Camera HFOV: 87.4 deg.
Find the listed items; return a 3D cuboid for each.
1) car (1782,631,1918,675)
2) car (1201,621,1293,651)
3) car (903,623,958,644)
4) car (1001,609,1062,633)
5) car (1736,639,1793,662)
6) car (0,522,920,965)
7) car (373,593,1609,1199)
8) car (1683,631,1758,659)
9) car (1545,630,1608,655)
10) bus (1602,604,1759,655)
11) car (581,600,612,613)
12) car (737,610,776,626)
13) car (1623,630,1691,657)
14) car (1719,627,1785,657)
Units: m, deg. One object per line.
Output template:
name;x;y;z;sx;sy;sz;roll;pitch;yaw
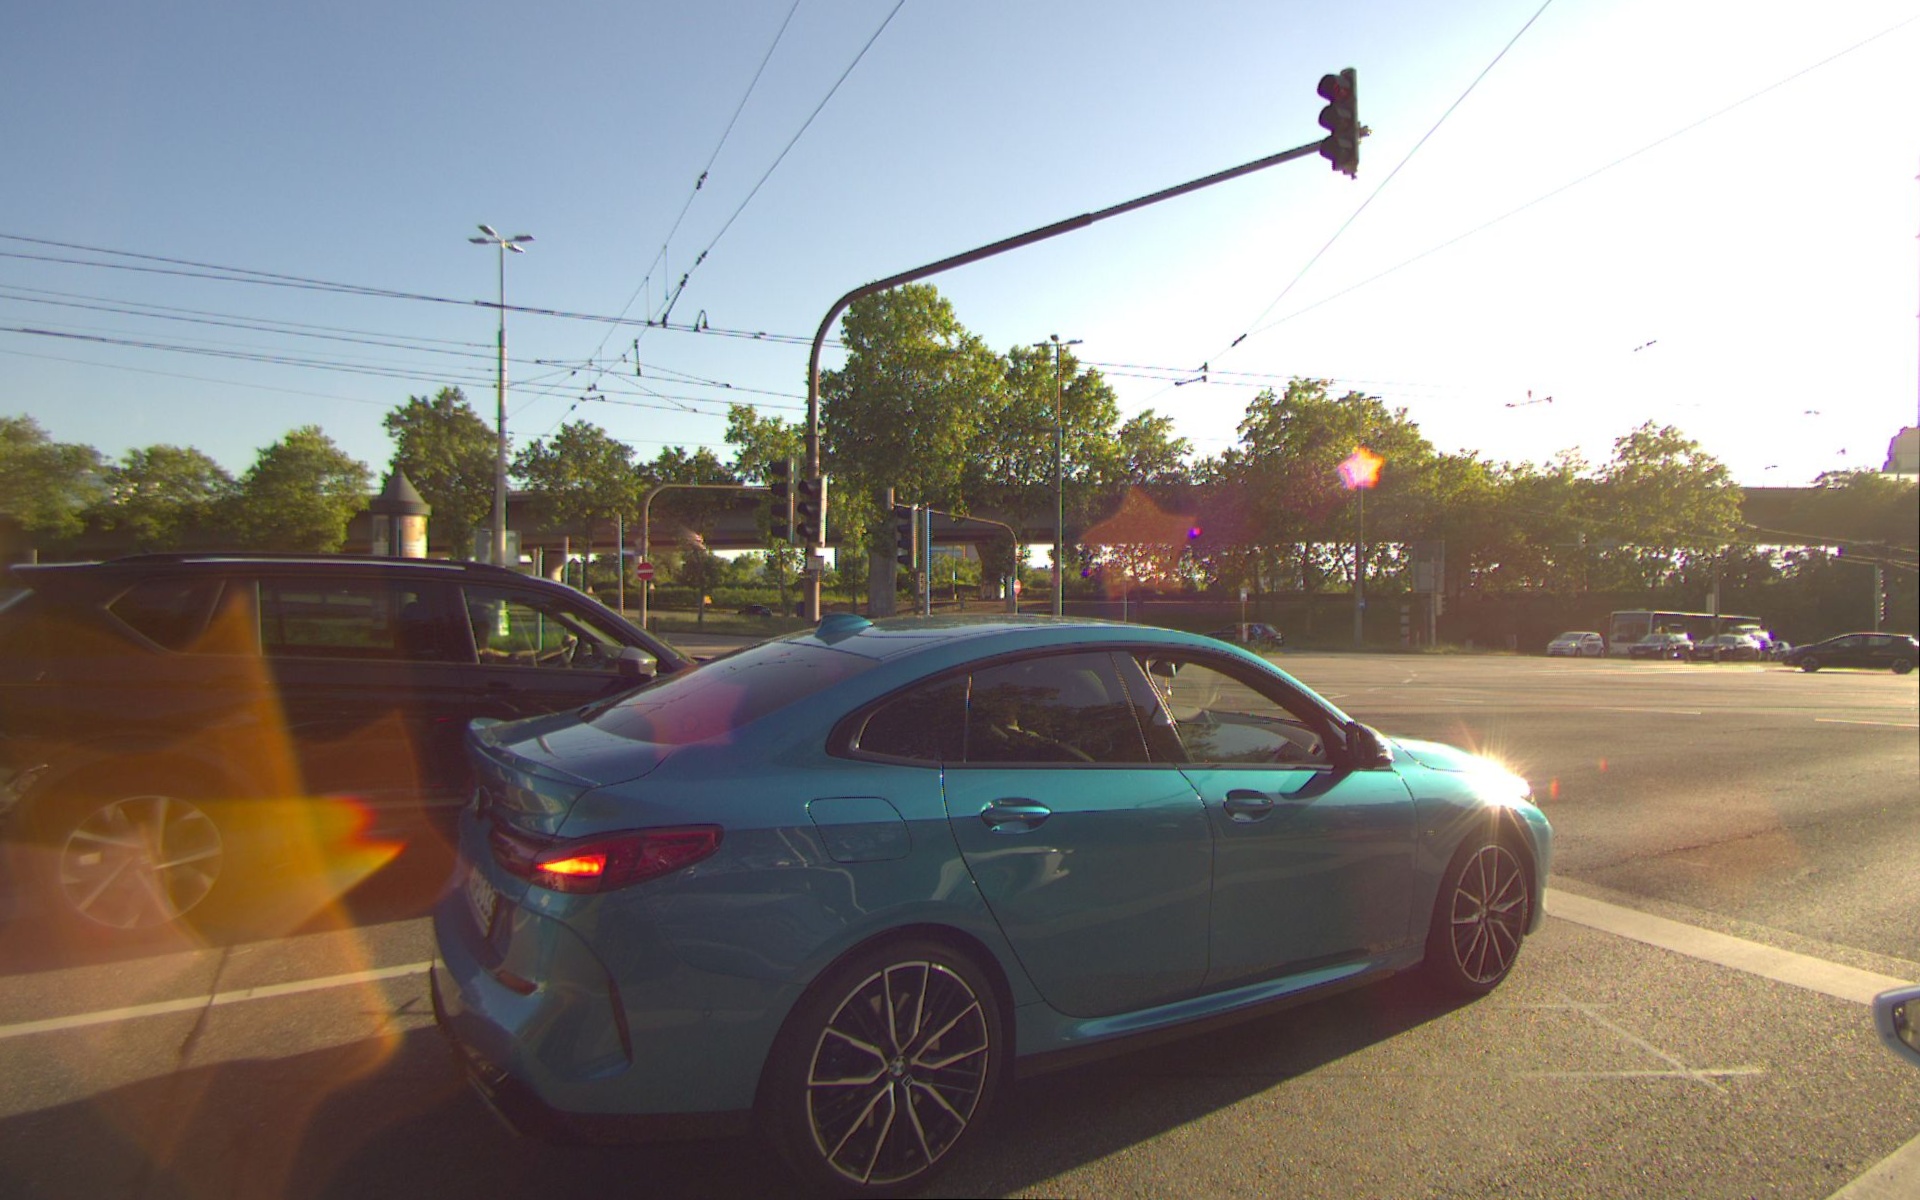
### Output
car;32.645;1.896;36.943;3.680;1.441;1.688;1;-1;42
car;15.723;1.961;55.087;1.986;1.473;4.476;2;-1;-43
car;-2.282;2.563;77.400;1.982;1.473;4.485;2;-1;-38
car;5.216;1.544;73.897;1.982;1.644;4.485;2;-1;-38
car;54.691;3.423;68.310;3.952;1.461;1.692;2;-1;-30
car;-2.672;0.598;5.625;4.550;1.704;1.905;2;-1;-32
car;0.415;0.760;3.793;4.465;1.436;1.774;2;-1;-33
car;39.660;2.335;52.380;4.046;1.372;1.703;2;-1;-30
car;35.176;2.429;57.308;3.693;1.372;1.595;2;-1;-32
bus;45.462;1.887;63.170;12.693;2.993;2.811;2;-1;-28
car;-42.839;0.719;118.341;1.984;1.473;4.482;2;-1;-40
car;-20.034;1.734;98.826;1.981;1.473;4.487;2;-1;-36
car;37.923;2.353;54.628;3.956;1.372;1.595;2;-1;-32
car;46.867;2.472;59.439;4.046;1.674;1.703;2;-1;-30
